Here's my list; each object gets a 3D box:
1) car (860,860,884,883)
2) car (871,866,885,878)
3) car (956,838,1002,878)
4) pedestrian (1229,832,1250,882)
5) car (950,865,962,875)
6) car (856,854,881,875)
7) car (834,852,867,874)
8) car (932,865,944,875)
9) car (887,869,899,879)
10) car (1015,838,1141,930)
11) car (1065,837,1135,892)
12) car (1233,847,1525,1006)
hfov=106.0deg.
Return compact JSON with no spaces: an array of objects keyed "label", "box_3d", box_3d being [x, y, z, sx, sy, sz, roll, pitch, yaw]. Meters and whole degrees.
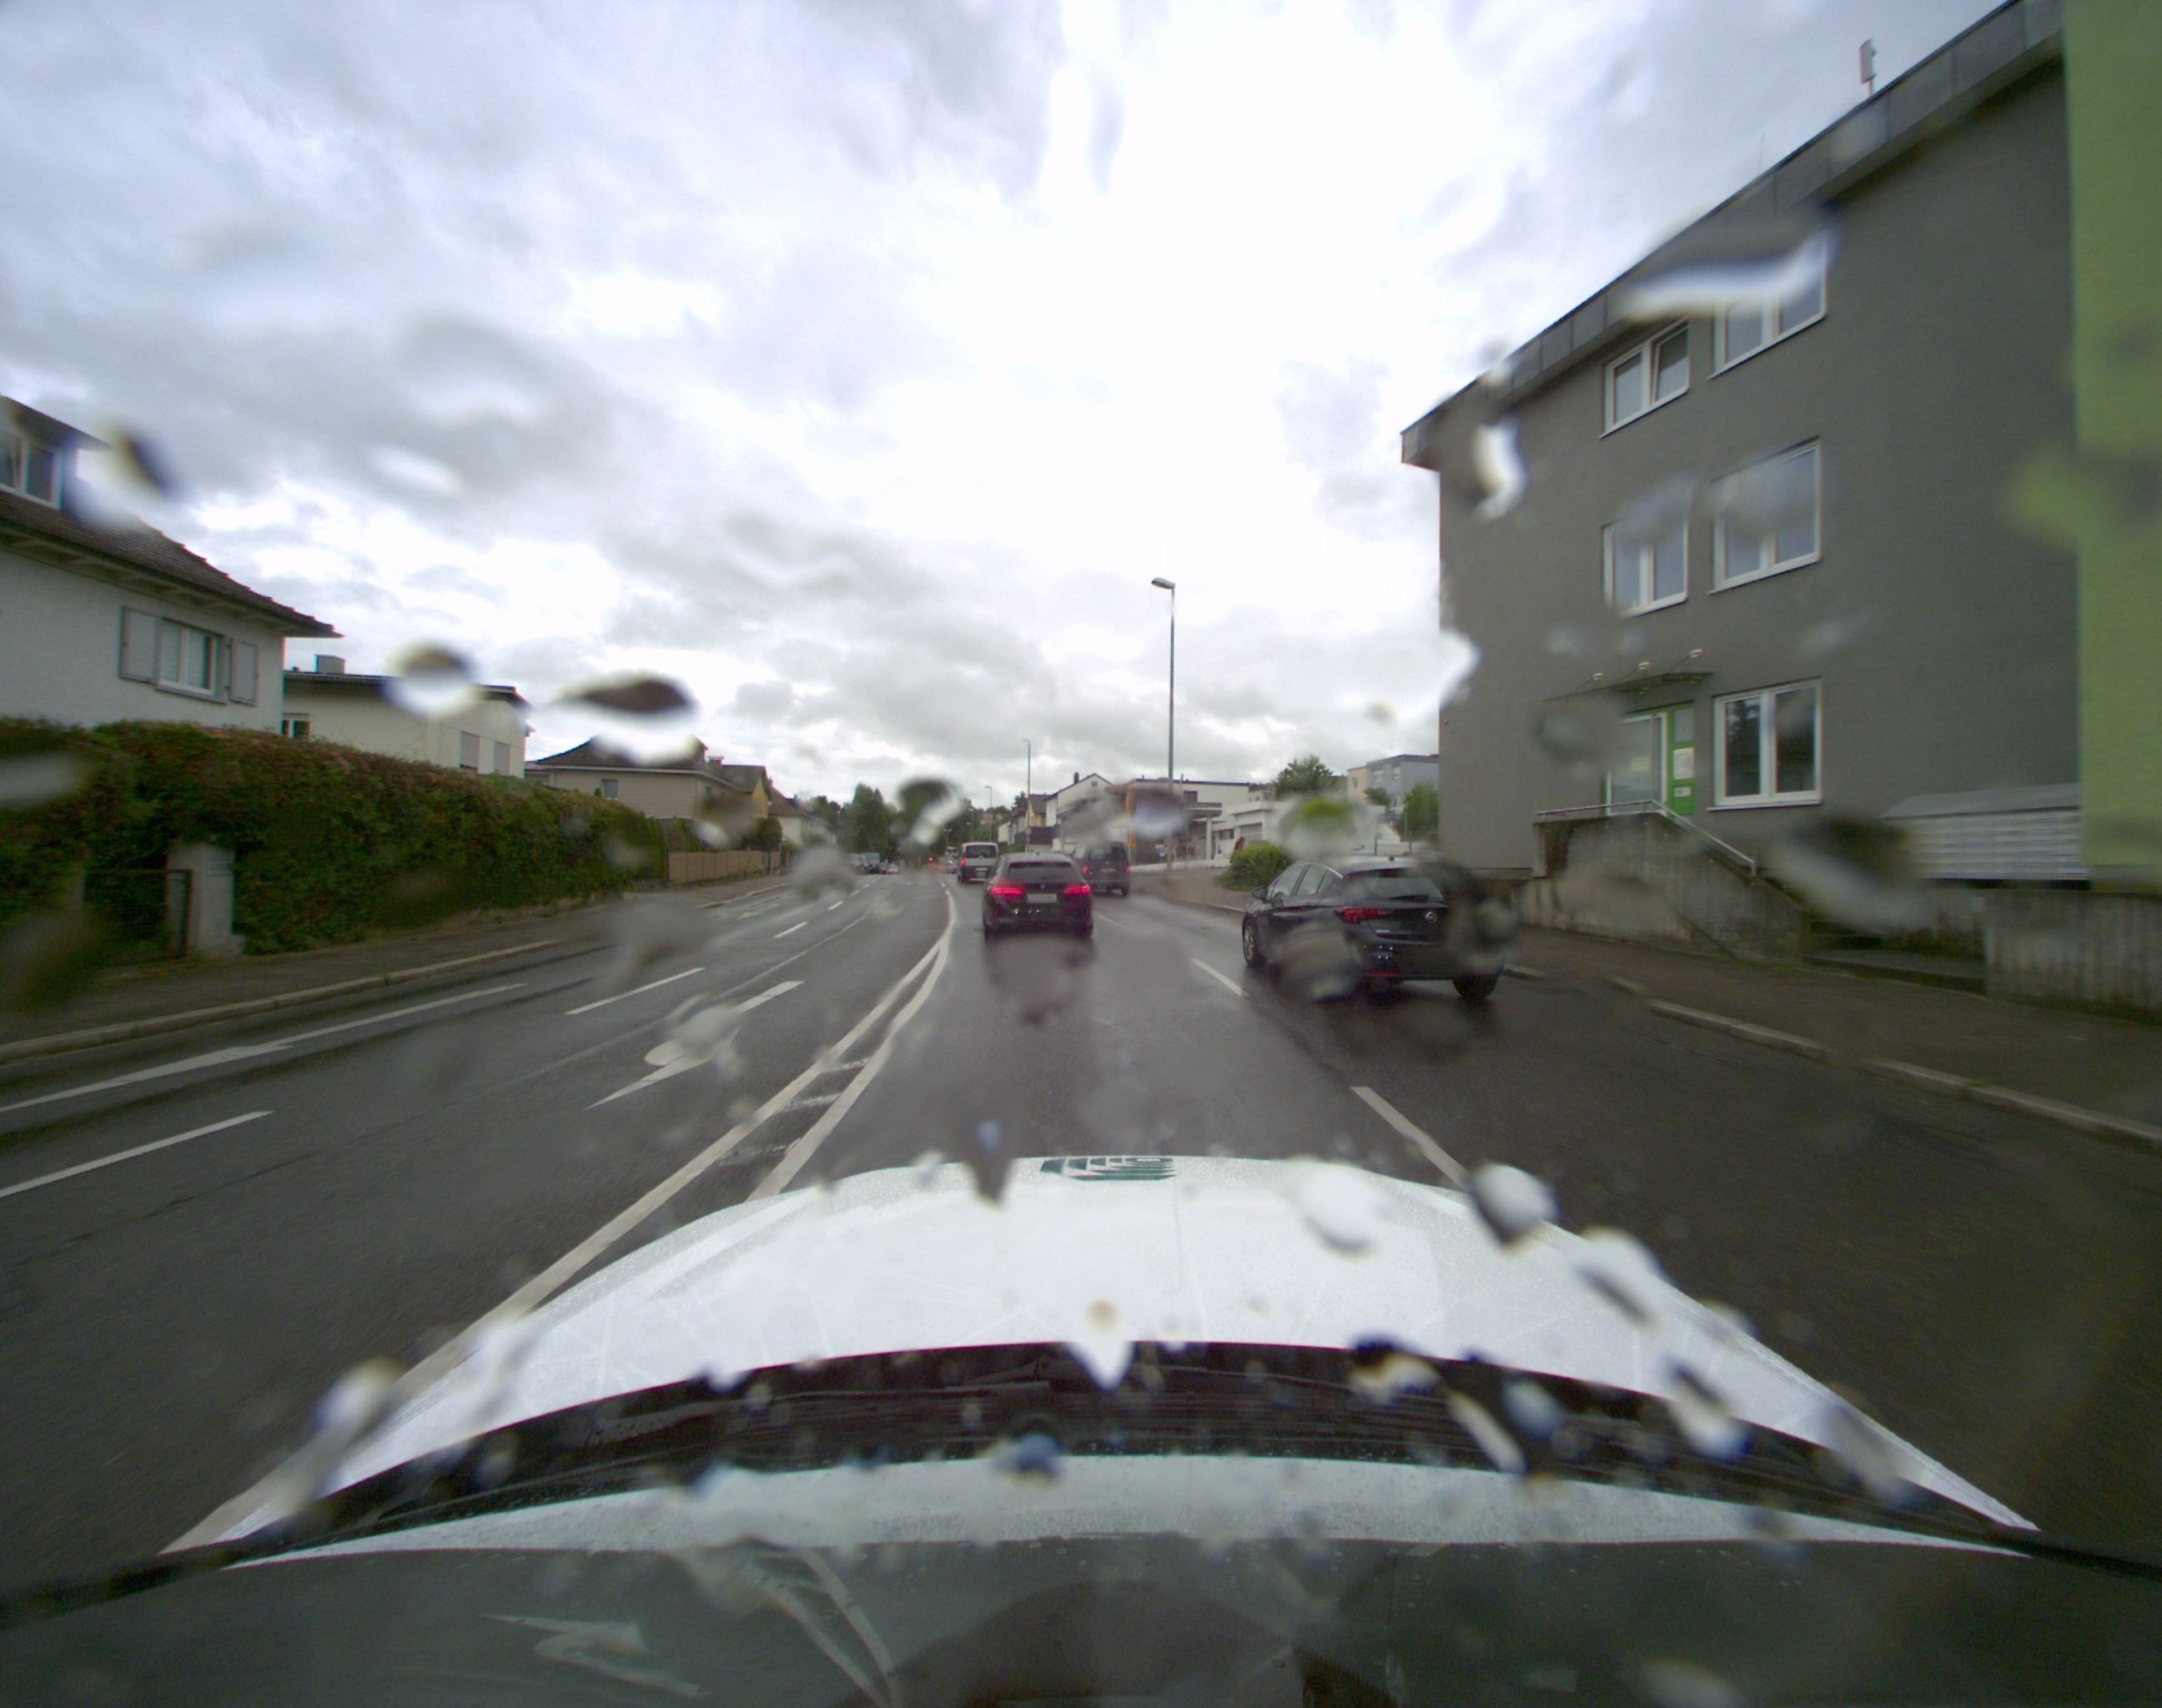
[{"label":"car","box_3d":[-19.010,1.616,74.139,1.915,2.003,5.064,1,-2,-13]},{"label":"car","box_3d":[-23.694,2.112,95.114,1.553,1.431,3.996,1,-2,-13]},{"label":"car","box_3d":[-4.814,0.225,38.207,1.993,1.738,3.987,1,-2,-9]},{"label":"pedestrian","box_3d":[6.427,0.117,33.069,0.714,2.014,0.614,1,-2,-2]},{"label":"car","box_3d":[-24.685,3.160,160.951,1.996,1.741,3.981,1,-2,-13]},{"label":"car","box_3d":[-16.813,0.859,64.492,1.752,1.517,4.506,1,-2,-13]},{"label":"car","box_3d":[-16.264,0.640,57.629,1.750,1.440,4.114,1,-2,-10]},{"label":"car","box_3d":[-26.541,2.973,150.916,1.992,1.741,3.989,1,-2,-7]},{"label":"car","box_3d":[-32.465,3.494,140.694,1.885,1.585,3.985,1,-2,-11]},{"label":"car","box_3d":[-0.204,0.558,15.274,1.991,1.484,3.991,1,-2,-6]},{"label":"car","box_3d":[0.592,0.411,28.401,1.837,1.767,3.989,1,-2,-7]},{"label":"car","box_3d":[3.125,0.668,9.480,1.752,1.449,3.995,1,0,-3]}]
